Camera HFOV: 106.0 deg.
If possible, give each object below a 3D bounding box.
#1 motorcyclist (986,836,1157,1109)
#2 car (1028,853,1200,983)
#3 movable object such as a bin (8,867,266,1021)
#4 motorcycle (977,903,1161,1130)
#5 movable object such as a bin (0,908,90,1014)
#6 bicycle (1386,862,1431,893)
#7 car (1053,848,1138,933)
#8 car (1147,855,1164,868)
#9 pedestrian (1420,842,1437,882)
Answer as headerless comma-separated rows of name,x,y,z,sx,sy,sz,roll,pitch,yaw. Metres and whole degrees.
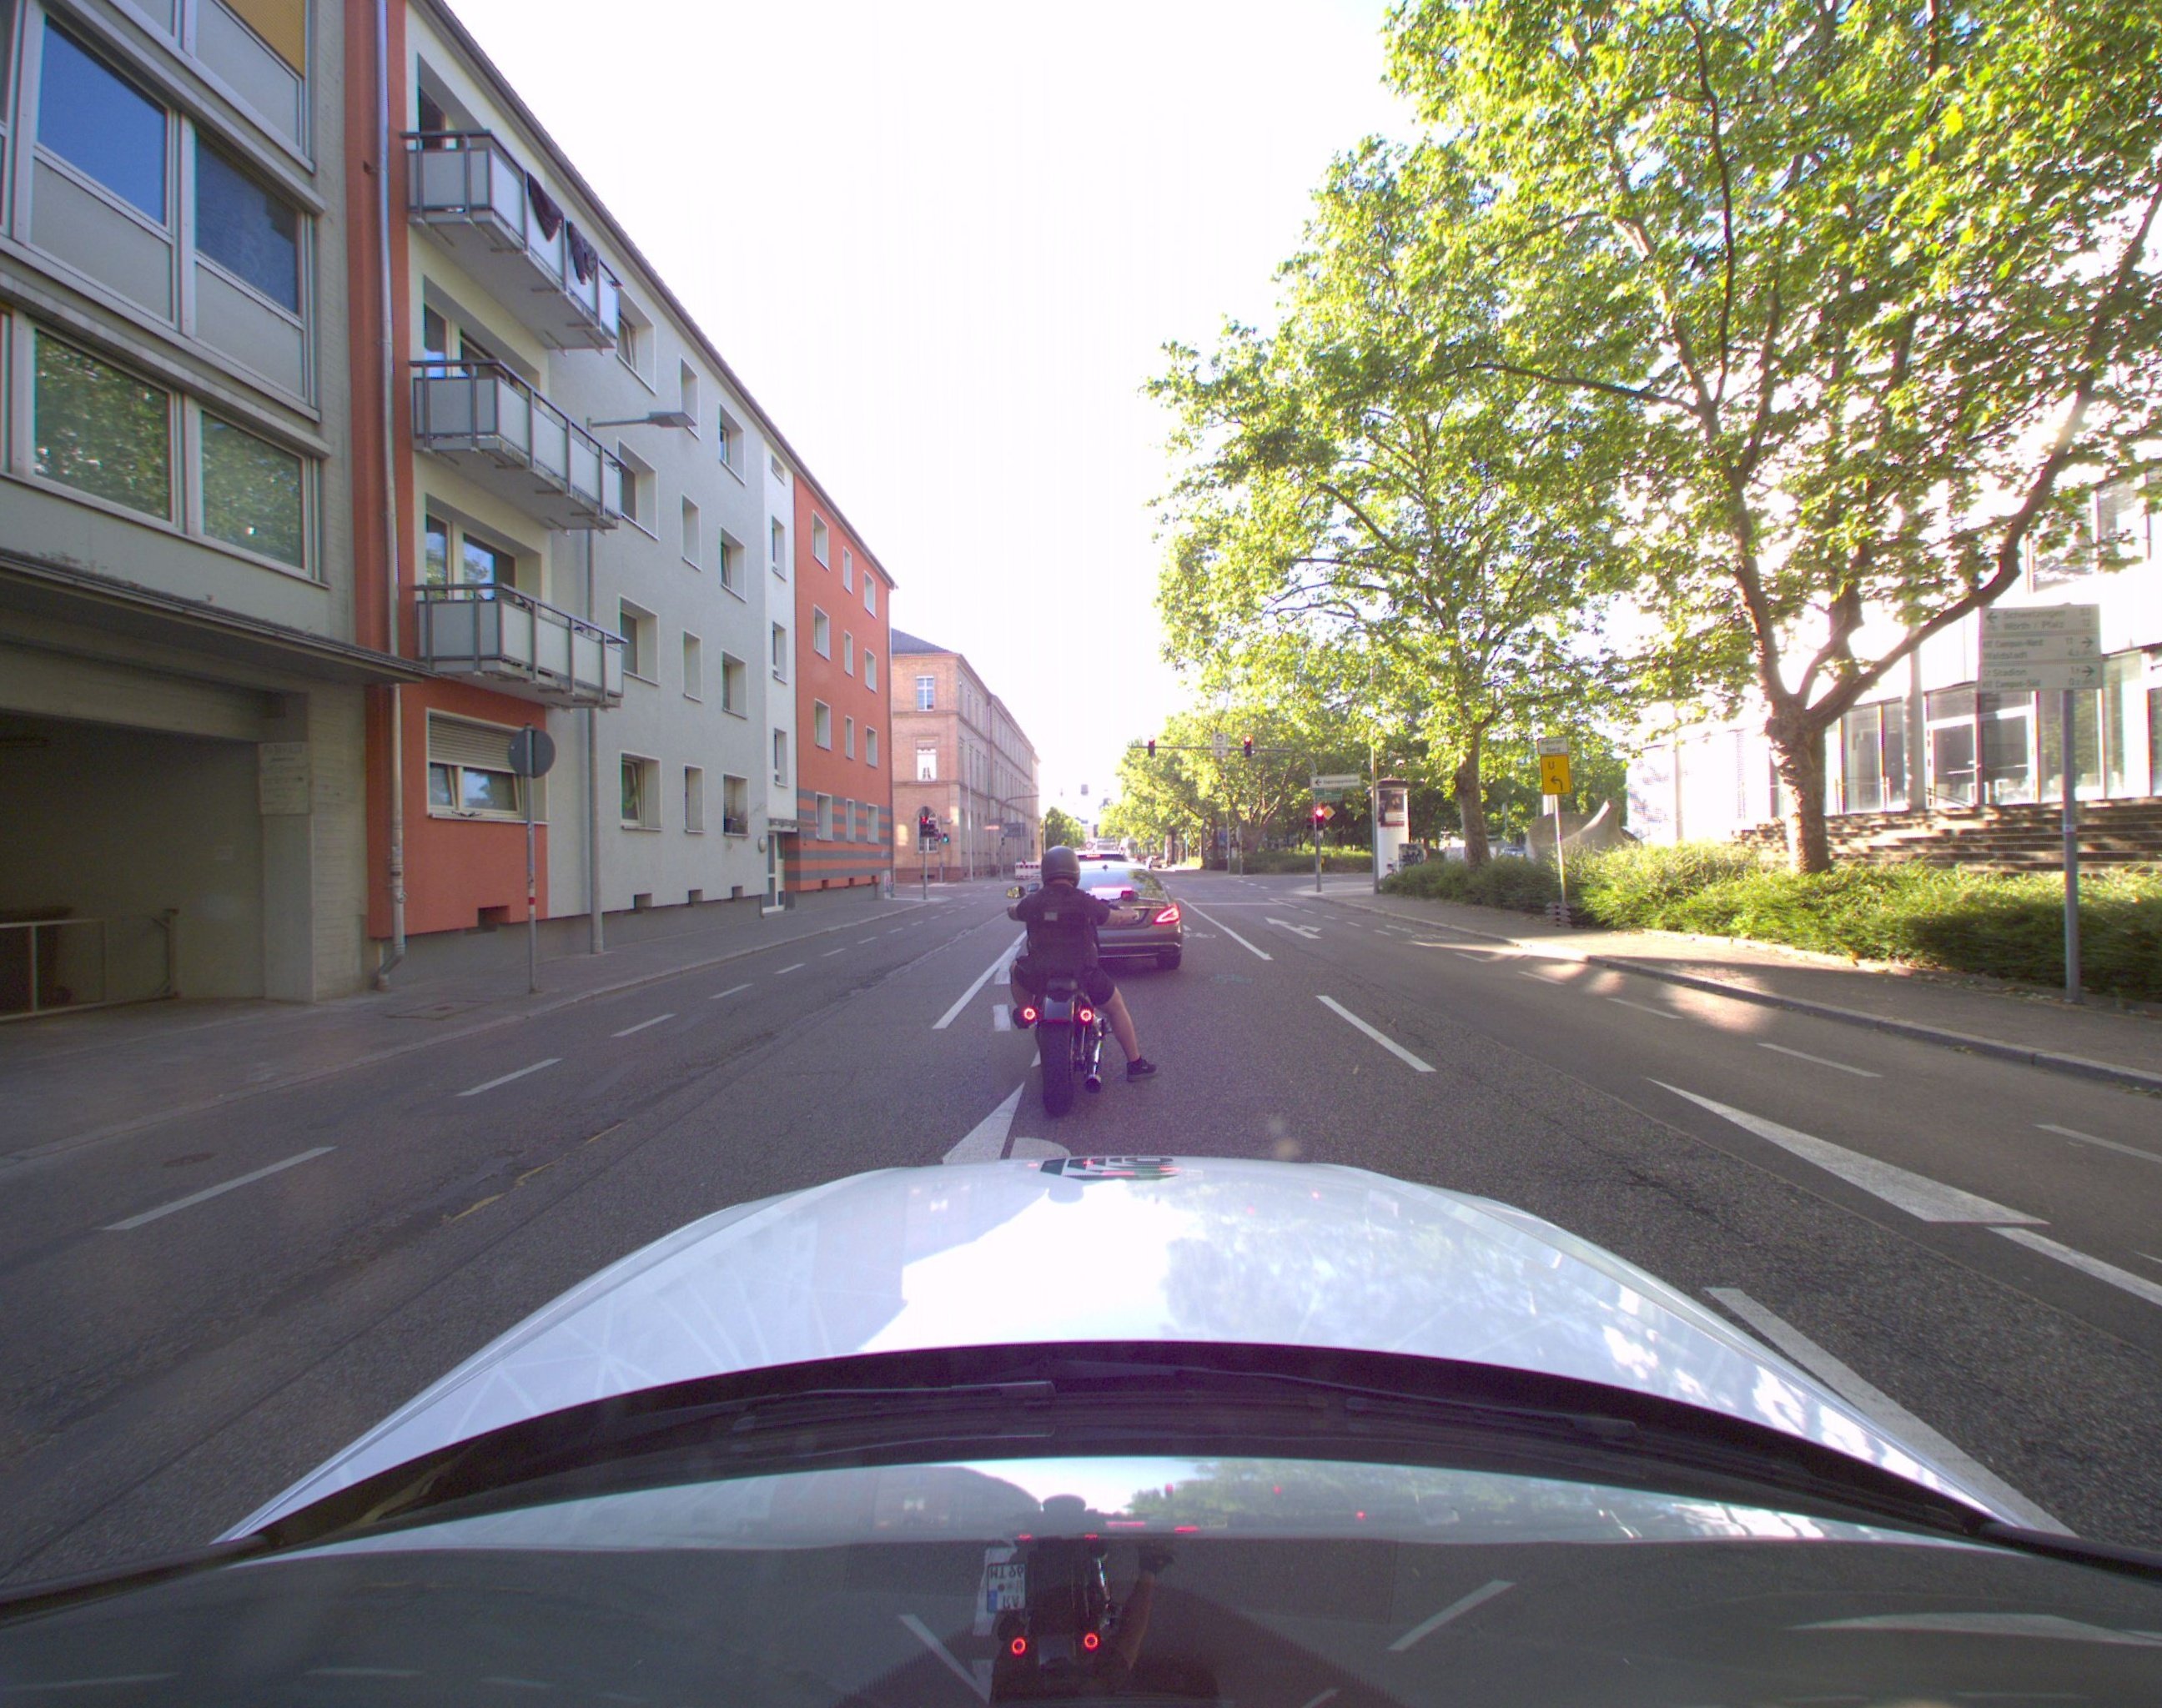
motorcyclist,-0.035,0.704,5.536,0.986,1.597,1.404,-1,0,2
car,0.258,0.747,11.727,1.943,1.473,4.355,-1,0,-5
movable object such as a bin,-9.625,0.873,8.374,1.322,1.430,1.134,-1,0,3
motorcycle,-0.027,0.963,5.689,0.986,1.078,2.453,-1,0,2
movable object such as a bin,-11.315,1.120,8.690,0.593,1.041,0.703,0,-1,1
bicycle,11.027,0.796,27.464,1.346,1.023,0.363,-1,0,2
car,0.321,0.710,17.897,1.606,1.607,4.329,-1,0,1
car,9.056,0.869,98.881,1.814,1.481,3.911,-3,0,3
pedestrian,16.386,0.369,38.424,0.549,1.849,0.594,-1,0,3
